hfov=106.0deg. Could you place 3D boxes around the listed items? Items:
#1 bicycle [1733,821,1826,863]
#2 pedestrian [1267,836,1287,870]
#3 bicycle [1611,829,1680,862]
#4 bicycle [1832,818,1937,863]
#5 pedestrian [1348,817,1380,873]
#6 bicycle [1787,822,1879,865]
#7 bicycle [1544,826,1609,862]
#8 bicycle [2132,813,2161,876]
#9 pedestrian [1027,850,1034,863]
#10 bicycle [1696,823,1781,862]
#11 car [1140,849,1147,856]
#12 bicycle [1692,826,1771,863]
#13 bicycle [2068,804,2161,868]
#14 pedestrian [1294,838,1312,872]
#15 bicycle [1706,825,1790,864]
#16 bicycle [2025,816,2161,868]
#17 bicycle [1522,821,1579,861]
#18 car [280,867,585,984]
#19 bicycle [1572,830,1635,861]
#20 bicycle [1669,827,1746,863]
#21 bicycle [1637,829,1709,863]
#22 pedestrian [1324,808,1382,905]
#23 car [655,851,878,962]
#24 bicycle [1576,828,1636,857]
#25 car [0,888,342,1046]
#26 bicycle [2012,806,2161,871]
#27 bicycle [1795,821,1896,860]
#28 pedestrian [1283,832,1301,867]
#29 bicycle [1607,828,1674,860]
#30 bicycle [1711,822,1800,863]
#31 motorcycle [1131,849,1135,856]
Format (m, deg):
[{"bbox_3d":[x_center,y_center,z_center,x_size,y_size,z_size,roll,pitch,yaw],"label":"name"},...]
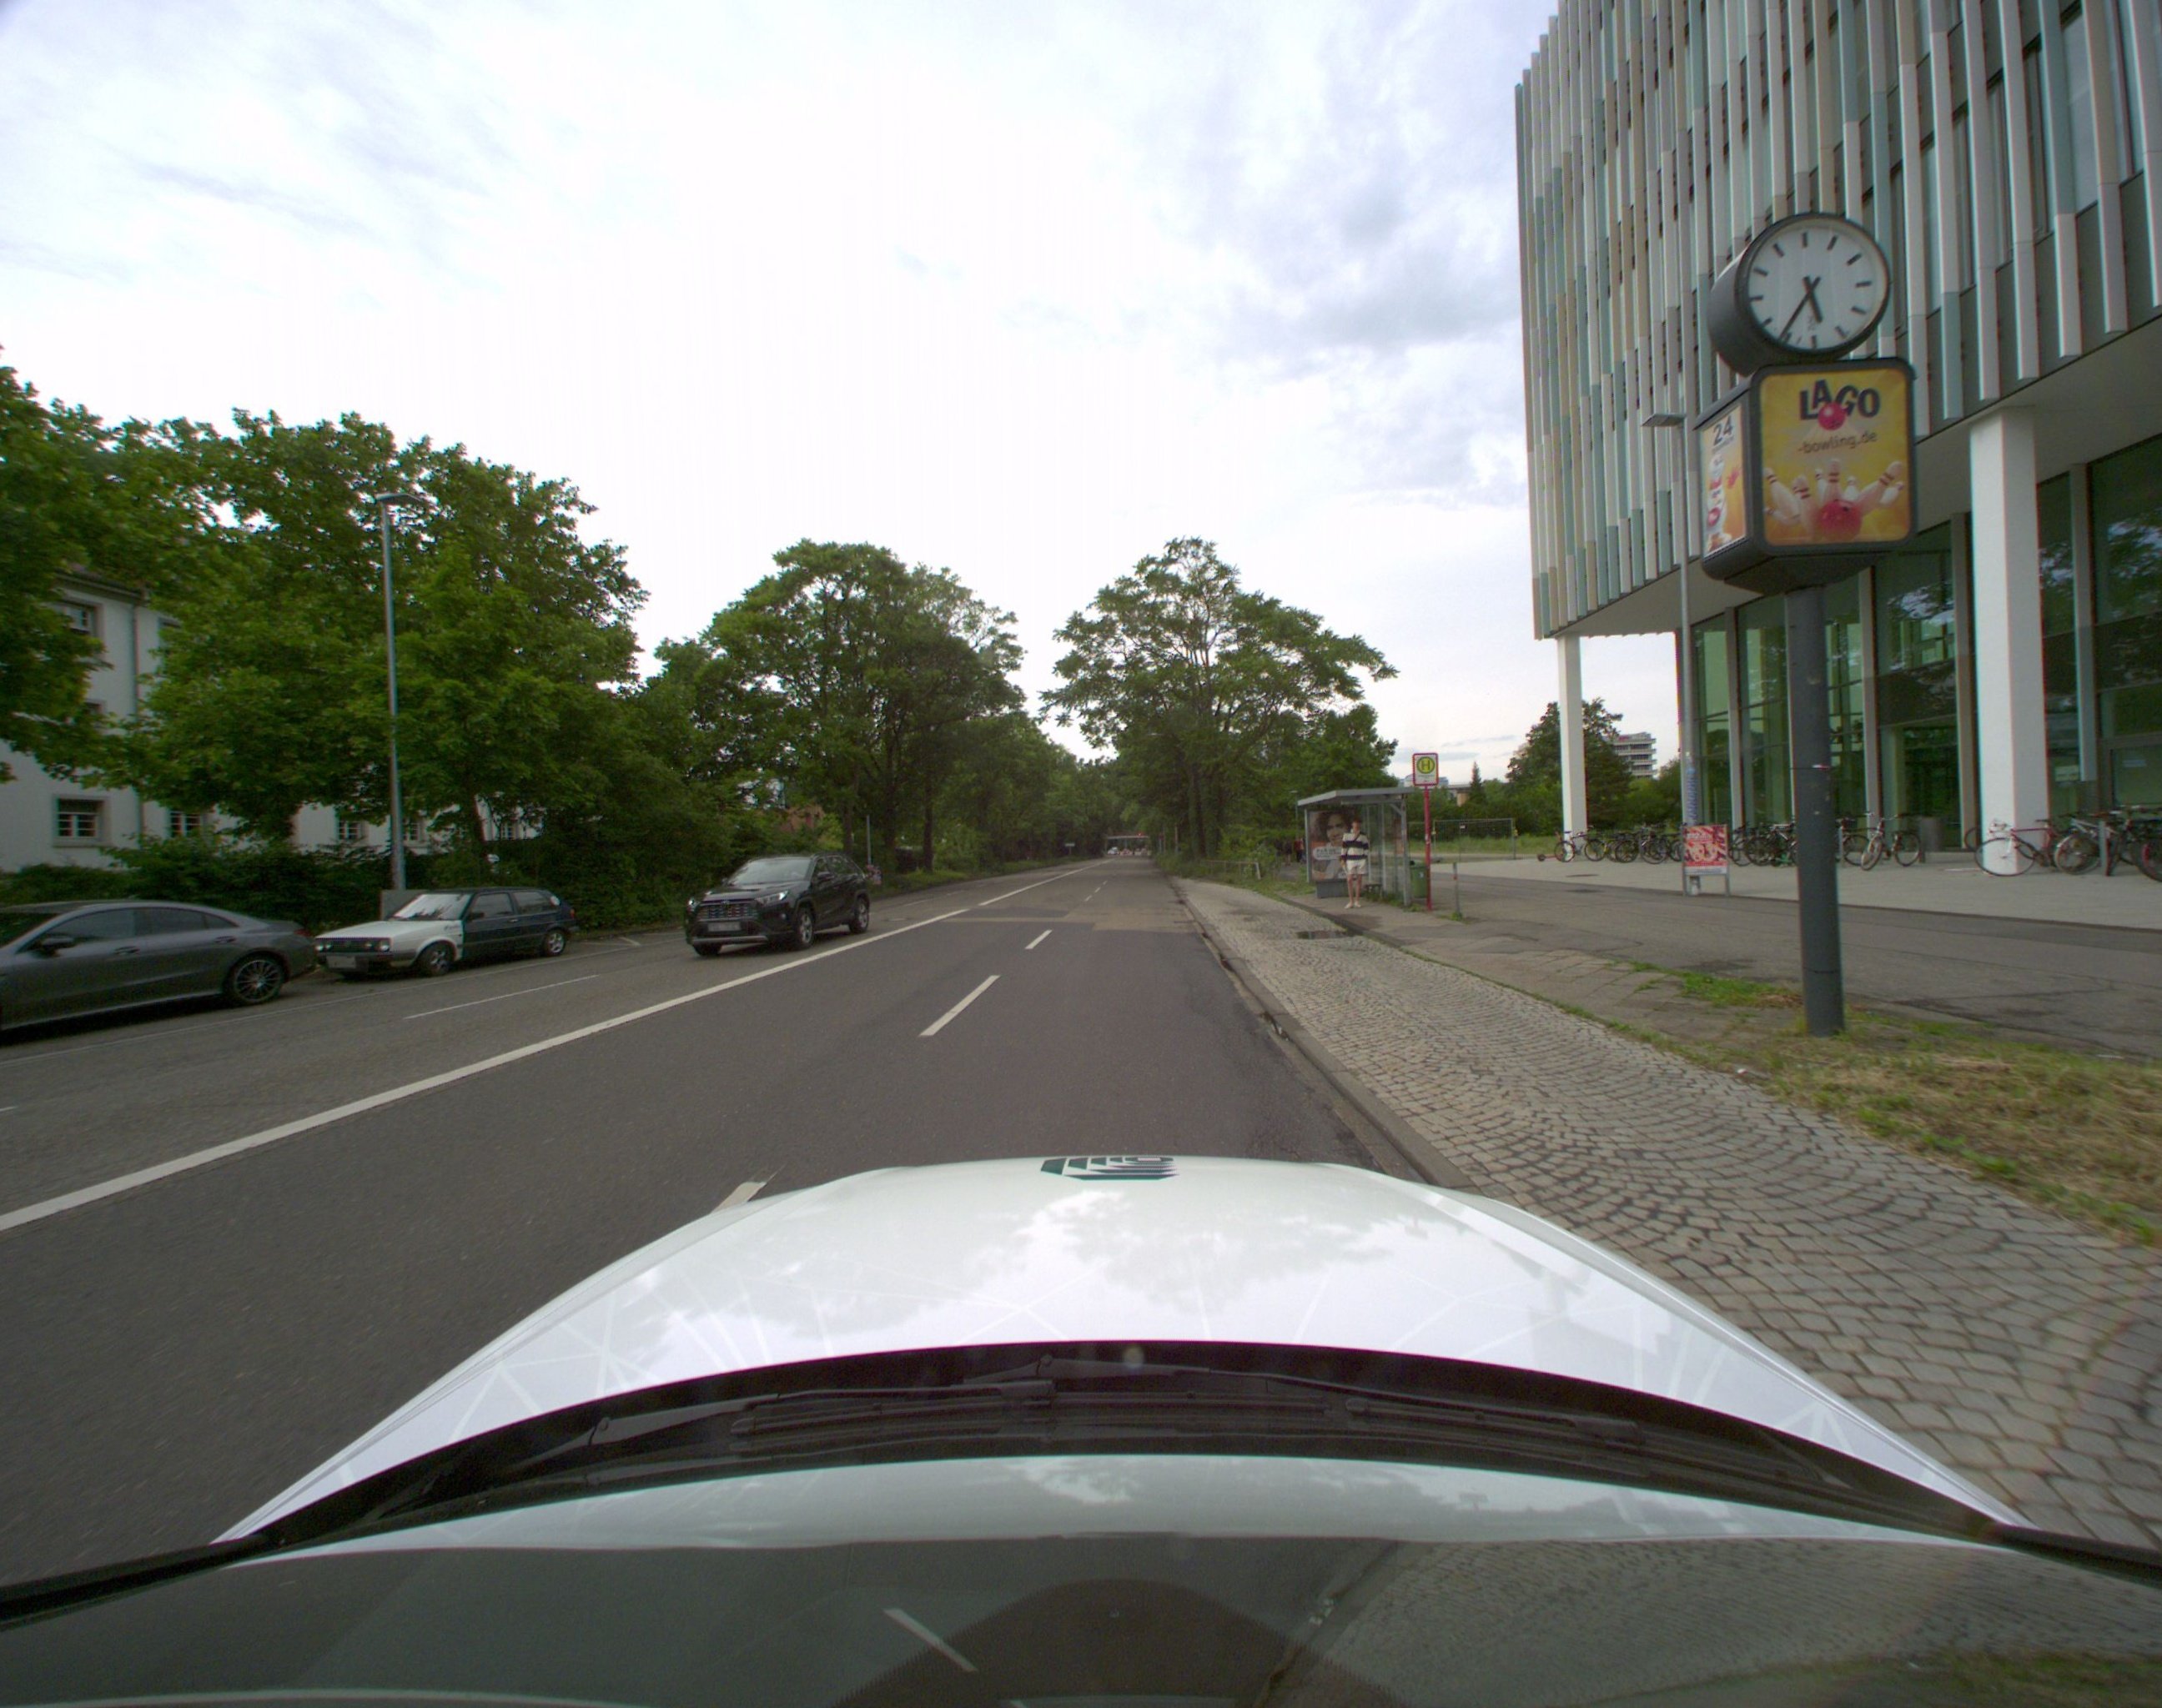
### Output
[{"bbox_3d":[16.250,-0.281,18.969,1.599,0.874,0.557,-4,0,4],"label":"bicycle"},{"bbox_3d":[12.051,-0.052,50.097,0.922,2.013,1.039,-3,0,0],"label":"pedestrian"},{"bbox_3d":[17.048,-0.259,24.622,1.599,0.874,0.557,-4,0,4],"label":"bicycle"},{"bbox_3d":[16.578,-0.277,16.827,1.525,0.833,0.557,-4,0,4],"label":"bicycle"},{"bbox_3d":[10.372,-0.326,29.869,0.839,2.013,0.895,-3,0,3],"label":"pedestrian"},{"bbox_3d":[16.724,-0.228,18.133,1.448,0.839,0.557,-4,0,4],"label":"bicycle"},{"bbox_3d":[17.121,-0.330,28.155,1.787,1.082,0.626,-5,0,2],"label":"bicycle"},{"bbox_3d":[15.985,-0.169,11.566,1.277,0.874,0.557,-4,0,4],"label":"bicycle"},{"bbox_3d":[-6.661,0.338,107.325,0.788,1.613,0.849,-1,0,4],"label":"pedestrian"},{"bbox_3d":[16.464,-0.288,20.415,1.599,0.874,0.557,-4,0,4],"label":"bicycle"},{"bbox_3d":[16.647,-0.375,217.059,1.835,2.013,4.005,-1,0,4],"label":"car"},{"bbox_3d":[17.120,-0.244,21.442,1.596,0.884,0.517,-3,0,4],"label":"bicycle"},{"bbox_3d":[16.806,-0.301,12.805,1.681,0.947,0.518,-3,0,10],"label":"bicycle"},{"bbox_3d":[13.601,0.058,49.970,0.820,2.013,0.721,-3,0,3],"label":"pedestrian"},{"bbox_3d":[17.080,-0.246,20.875,1.599,0.874,0.557,-4,0,4],"label":"bicycle"},{"bbox_3d":[16.664,-0.193,13.430,1.428,0.746,0.557,-4,0,4],"label":"bicycle"},{"bbox_3d":[17.205,-0.481,29.878,1.634,1.333,0.465,-5,-1,17],"label":"bicycle"},{"bbox_3d":[-11.101,1.123,14.400,1.984,1.689,4.005,-1,0,4],"label":"car"},{"bbox_3d":[16.806,-0.276,26.190,1.599,0.874,0.557,-4,0,4],"label":"bicycle"},{"bbox_3d":[17.217,-0.236,22.397,1.599,0.874,0.557,-4,0,4],"label":"bicycle"},{"bbox_3d":[17.132,-0.227,23.596,1.599,0.874,0.557,-4,0,4],"label":"bicycle"},{"bbox_3d":[5.909,0.036,17.736,0.908,2.013,0.854,-4,2,3],"label":"pedestrian"},{"bbox_3d":[-5.337,0.796,14.603,1.894,1.593,4.522,-3,0,4],"label":"car"},{"bbox_3d":[17.408,-0.373,27.007,1.601,0.874,0.556,-3,0,0],"label":"bicycle"},{"bbox_3d":[-11.765,1.251,9.382,1.865,1.424,4.735,-2,0,5],"label":"car"},{"bbox_3d":[15.377,-0.226,12.421,1.599,0.874,0.557,-4,0,4],"label":"bicycle"},{"bbox_3d":[16.375,-0.282,17.474,1.553,0.716,0.557,-4,0,4],"label":"bicycle"},{"bbox_3d":[12.778,-0.268,49.331,0.820,2.013,0.721,-4,0,3],"label":"pedestrian"},{"bbox_3d":[17.327,-0.312,25.237,1.599,0.874,0.557,-4,0,4],"label":"bicycle"},{"bbox_3d":[16.412,-0.282,19.832,1.599,0.874,0.557,-4,0,4],"label":"bicycle"},{"bbox_3d":[14.072,-0.409,220.738,0.985,1.936,2.672,-1,0,4],"label":"motorcycle"}]
